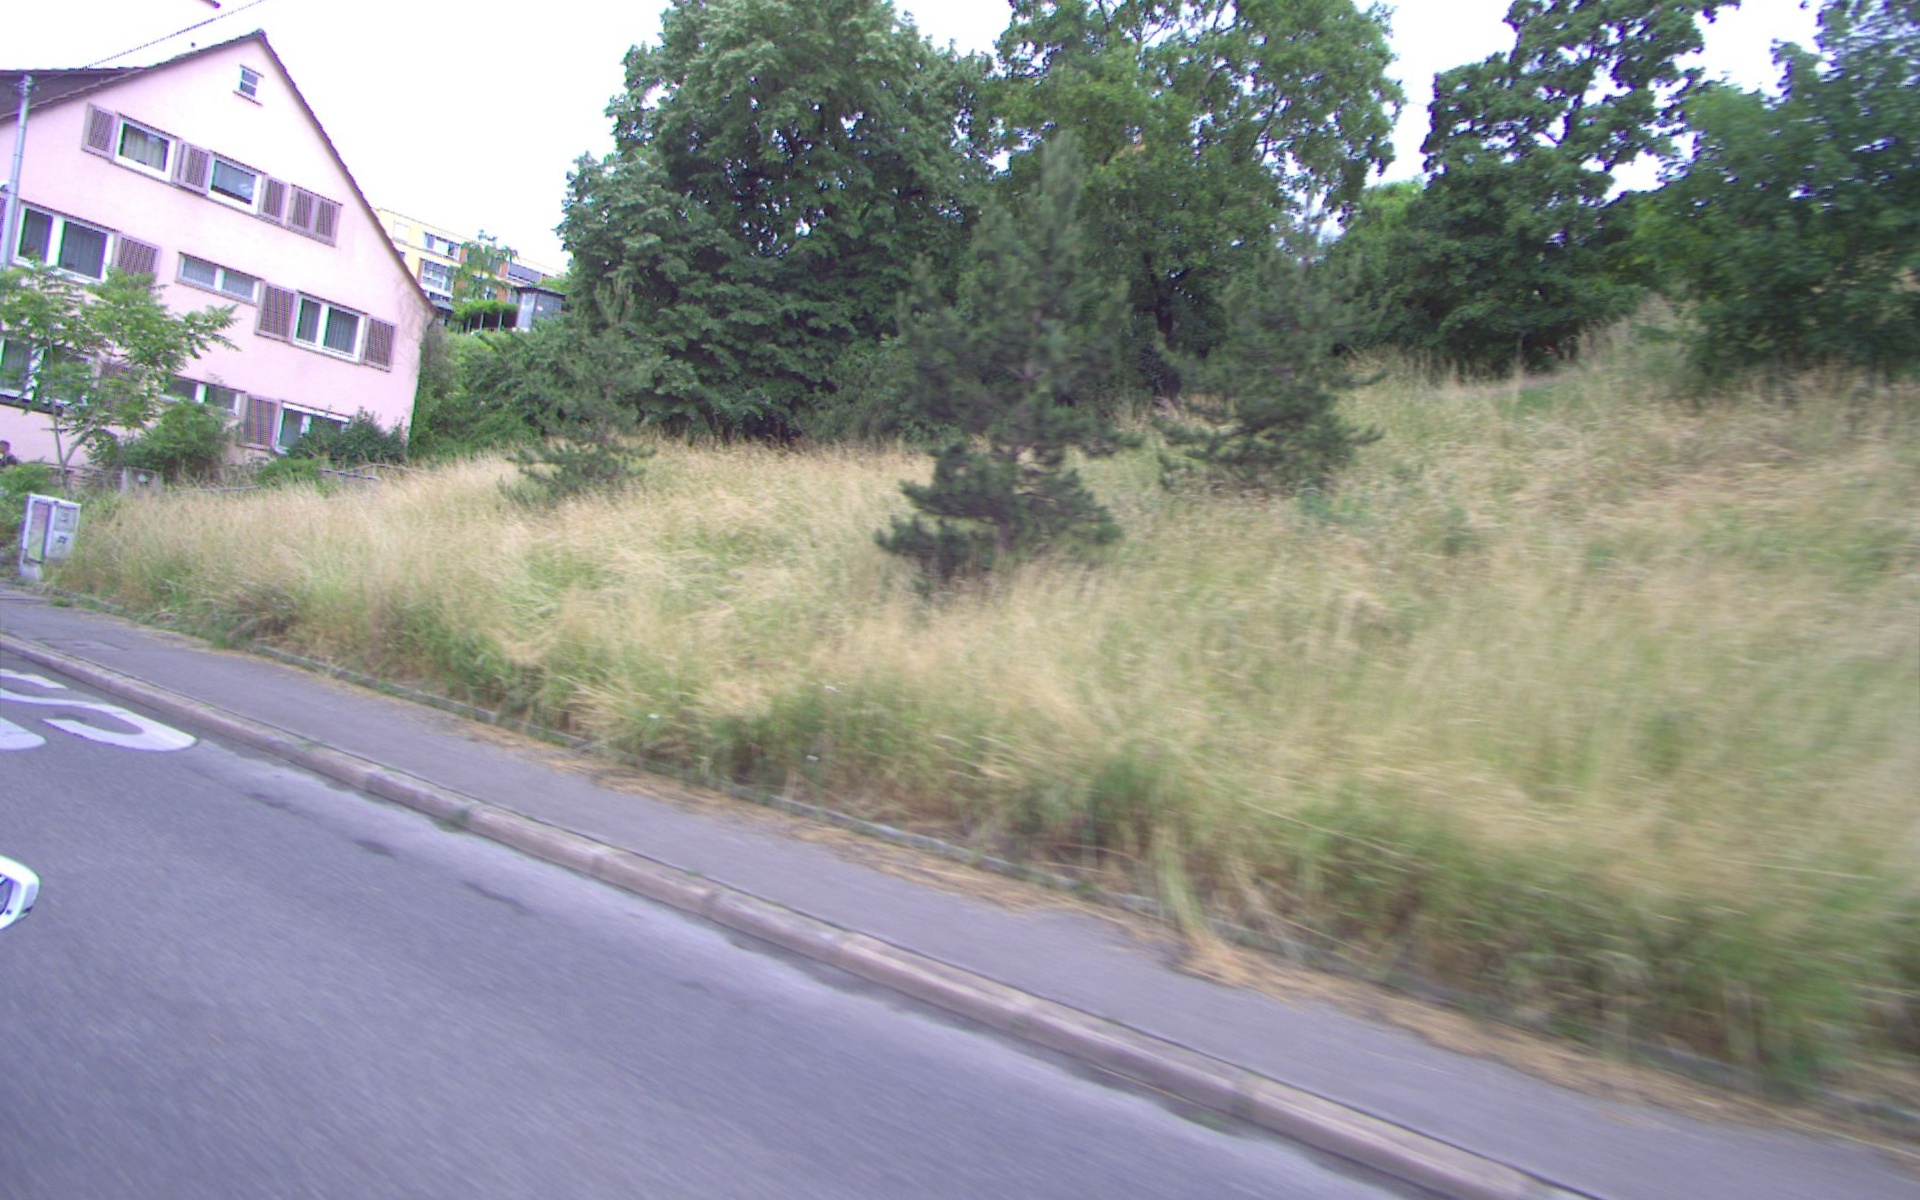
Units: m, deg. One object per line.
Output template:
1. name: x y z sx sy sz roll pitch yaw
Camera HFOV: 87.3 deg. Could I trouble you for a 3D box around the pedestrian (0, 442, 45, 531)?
1. pedestrian: -20.156 -2.415 21.182 0.858 1.715 0.889 7 -2 28
